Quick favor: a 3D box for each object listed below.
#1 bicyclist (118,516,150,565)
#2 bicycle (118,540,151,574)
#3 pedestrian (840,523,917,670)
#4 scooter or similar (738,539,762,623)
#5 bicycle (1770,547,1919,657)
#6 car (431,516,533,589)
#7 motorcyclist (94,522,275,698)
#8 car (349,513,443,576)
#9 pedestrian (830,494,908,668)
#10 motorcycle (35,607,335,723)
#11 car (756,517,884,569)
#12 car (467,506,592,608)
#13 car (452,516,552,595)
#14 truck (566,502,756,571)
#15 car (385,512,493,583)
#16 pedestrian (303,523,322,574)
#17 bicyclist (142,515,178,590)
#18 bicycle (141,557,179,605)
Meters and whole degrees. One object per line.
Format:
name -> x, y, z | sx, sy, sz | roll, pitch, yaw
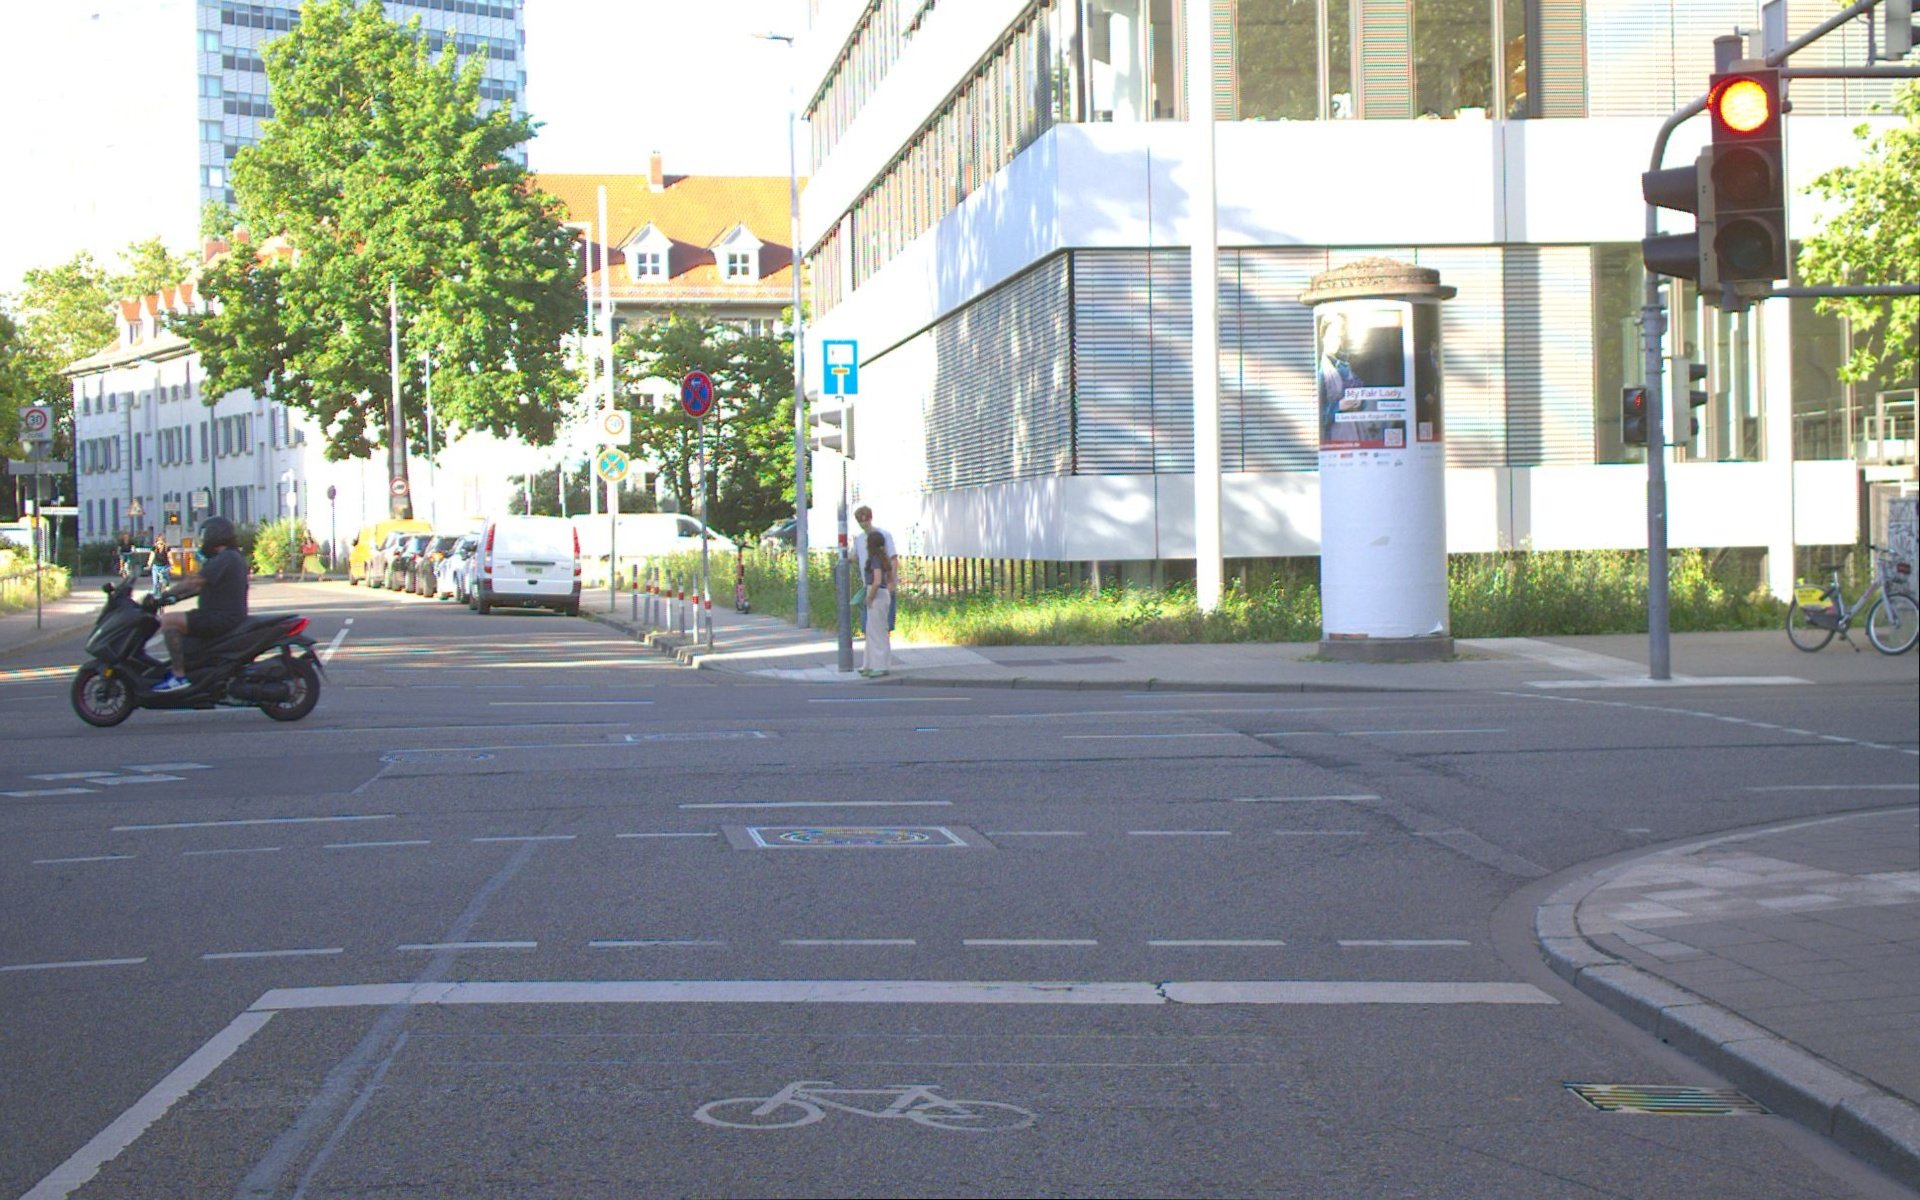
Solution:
bicyclist -> -26.526, -1.901, 110.420 | 0.865, 1.510, 1.019 | -4, 1, -11
bicycle -> -26.501, -1.380, 110.414 | 0.865, 1.006, 2.415 | -4, 1, -11
pedestrian -> -0.884, -0.043, 37.201 | 0.559, 1.535, 0.677 | -5, 2, -18
scooter or similar -> -3.586, -0.328, 58.568 | 0.330, 1.419, 1.335 | 1, 0, -6
bicycle -> 9.315, 0.009, 36.034 | 0.507, 1.045, 1.687 | -4, 5, -35
car -> -10.914, -1.113, 78.311 | 1.888, 1.550, 4.417 | -1, 2, -13
motorcyclist -> -6.417, 0.072, 28.497 | 1.294, 1.414, 0.821 | -1, 1, -1
car -> -15.692, -1.571, 95.493 | 1.888, 1.650, 4.417 | -1, 2, -19
pedestrian -> -1.000, -0.214, 37.804 | 0.560, 1.844, 0.677 | -3, 2, 16
motorcycle -> -6.406, 0.531, 28.502 | 2.297, 0.885, 0.821 | -1, 1, -1
car -> -4.245, -1.736, 104.235 | 3.554, 1.541, 1.559 | -1, 1, -19
car -> -8.127, -0.839, 64.647 | 2.084, 1.789, 4.417 | -1, 2, -10
car -> -9.741, -0.968, 72.940 | 1.888, 1.550, 4.417 | -1, 2, -10
truck -> -8.960, -1.917, 103.048 | 5.336, 2.007, 2.001 | -1, 1, -19
car -> -12.997, -1.330, 85.558 | 1.888, 1.650, 4.417 | -1, 2, -19
pedestrian -> -20.309, -1.622, 107.880 | 0.433, 1.602, 0.493 | -2, 1, -26
bicyclist -> -16.596, -0.986, 71.323 | 0.615, 1.527, 0.903 | -2, 1, -9
bicycle -> -16.582, -0.400, 71.322 | 0.615, 0.966, 1.842 | -2, 1, -9
